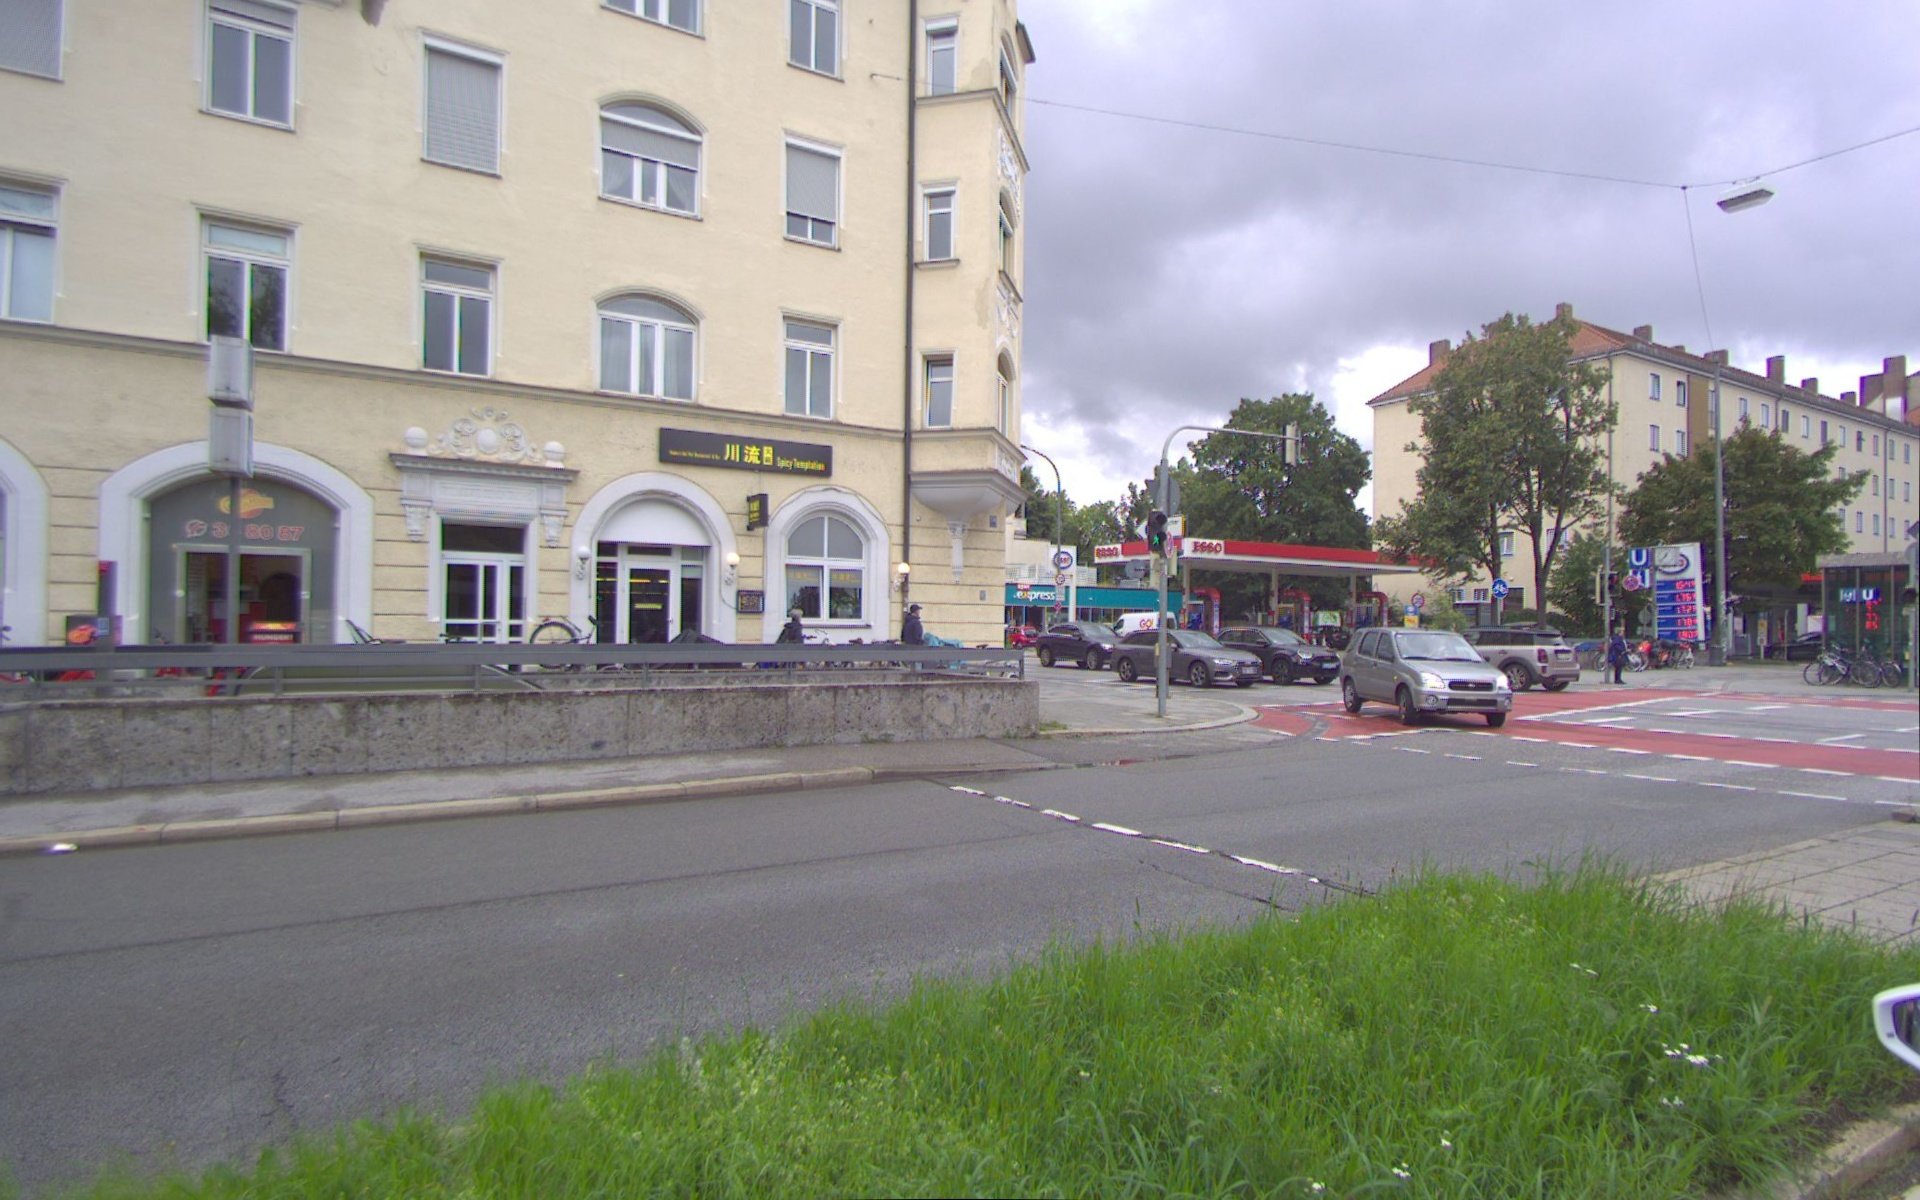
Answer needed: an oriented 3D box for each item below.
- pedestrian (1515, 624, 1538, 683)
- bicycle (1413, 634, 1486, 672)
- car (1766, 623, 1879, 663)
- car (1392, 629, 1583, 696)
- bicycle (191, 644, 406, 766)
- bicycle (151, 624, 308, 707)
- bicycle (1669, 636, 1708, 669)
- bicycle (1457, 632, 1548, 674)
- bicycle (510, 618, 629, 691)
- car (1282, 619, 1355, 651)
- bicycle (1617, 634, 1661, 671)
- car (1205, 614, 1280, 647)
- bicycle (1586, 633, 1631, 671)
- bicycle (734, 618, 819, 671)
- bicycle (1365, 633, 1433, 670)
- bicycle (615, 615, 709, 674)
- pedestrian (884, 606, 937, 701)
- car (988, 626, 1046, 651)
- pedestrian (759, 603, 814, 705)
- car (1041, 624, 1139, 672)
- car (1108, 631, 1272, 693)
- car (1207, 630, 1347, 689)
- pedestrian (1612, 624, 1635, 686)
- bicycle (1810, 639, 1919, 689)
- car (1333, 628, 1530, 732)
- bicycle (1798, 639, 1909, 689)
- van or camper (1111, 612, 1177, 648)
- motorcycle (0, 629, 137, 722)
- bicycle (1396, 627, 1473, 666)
[{"bbox_3d":[16.782,1.566,29.759,0.581,1.717,0.576,0,-1,29],"label":"pedestrian"},{"bbox_3d":[16.933,1.814,34.808,0.760,1.252,2.161,1,-1,-41],"label":"bicycle"},{"bbox_3d":[43.393,2.128,50.600,1.860,1.862,3.965,1,-1,-32],"label":"car"},{"bbox_3d":[13.503,1.537,25.970,1.676,1.534,4.148,1,-1,-30],"label":"car"},{"bbox_3d":[-6.718,1.030,10.273,1.798,1.130,0.392,1,-1,-39],"label":"bicycle"},{"bbox_3d":[-9.123,0.805,12.603,1.527,0.993,0.470,1,-1,-30],"label":"bicycle"},{"bbox_3d":[26.816,1.925,36.969,1.947,1.160,0.603,1,-1,-37],"label":"bicycle"},{"bbox_3d":[18.472,1.786,34.241,2.664,1.267,0.792,2,0,30],"label":"bicycle"},{"bbox_3d":[-5.557,0.763,14.325,1.527,0.993,0.470,1,-1,-30],"label":"bicycle"},{"bbox_3d":[21.634,2.098,60.762,1.836,1.808,3.968,1,-1,-30],"label":"car"},{"bbox_3d":[23.424,1.799,34.627,2.167,1.252,0.603,1,-1,-37],"label":"bicycle"},{"bbox_3d":[15.978,1.729,56.923,1.836,1.808,3.968,1,-1,-30],"label":"car"},{"bbox_3d":[22.443,1.786,34.724,2.167,1.252,0.603,1,-1,-37],"label":"bicycle"},{"bbox_3d":[-3.493,0.841,19.179,1.527,0.993,0.470,1,-1,-30],"label":"bicycle"},{"bbox_3d":[15.916,1.849,36.449,0.759,1.252,2.162,1,-1,-39],"label":"bicycle"},{"bbox_3d":[-5.247,0.777,17.715,1.527,0.993,0.470,1,-1,-30],"label":"bicycle"},{"bbox_3d":[-0.907,0.983,18.618,0.927,1.719,0.593,1,-1,1],"label":"pedestrian"},{"bbox_3d":[3.682,2.491,65.533,1.848,1.598,3.967,1,-1,-31],"label":"car"},{"bbox_3d":[-2.995,0.920,17.350,0.762,1.719,0.540,1,-1,-32],"label":"pedestrian"},{"bbox_3d":[4.494,1.637,34.985,1.677,1.534,3.308,1,-1,-32],"label":"car"},{"bbox_3d":[5.950,1.559,26.483,1.646,1.430,4.290,1,-1,-33],"label":"car"},{"bbox_3d":[8.561,1.572,27.370,1.643,1.430,3.534,1,-1,-27],"label":"car"},{"bbox_3d":[18.842,1.547,28.527,0.527,1.717,0.575,0,-1,34],"label":"pedestrian"},{"bbox_3d":[25.894,1.807,28.776,0.685,1.322,2.275,1,-1,-28],"label":"bicycle"},{"bbox_3d":[7.834,1.266,17.067,1.631,1.537,3.631,1,-1,-1],"label":"car"},{"bbox_3d":[25.221,1.776,28.403,0.695,1.322,2.262,1,-1,-28],"label":"bicycle"},{"bbox_3d":[12.542,2.016,68.788,1.898,2.354,4.511,1,-1,-32],"label":"van or camper"},{"bbox_3d":[-11.978,0.973,13.236,1.947,1.137,0.610,1,-1,10],"label":"motorcycle"},{"bbox_3d":[16.989,1.648,36.007,0.785,1.267,2.374,2,0,-40],"label":"bicycle"}]
